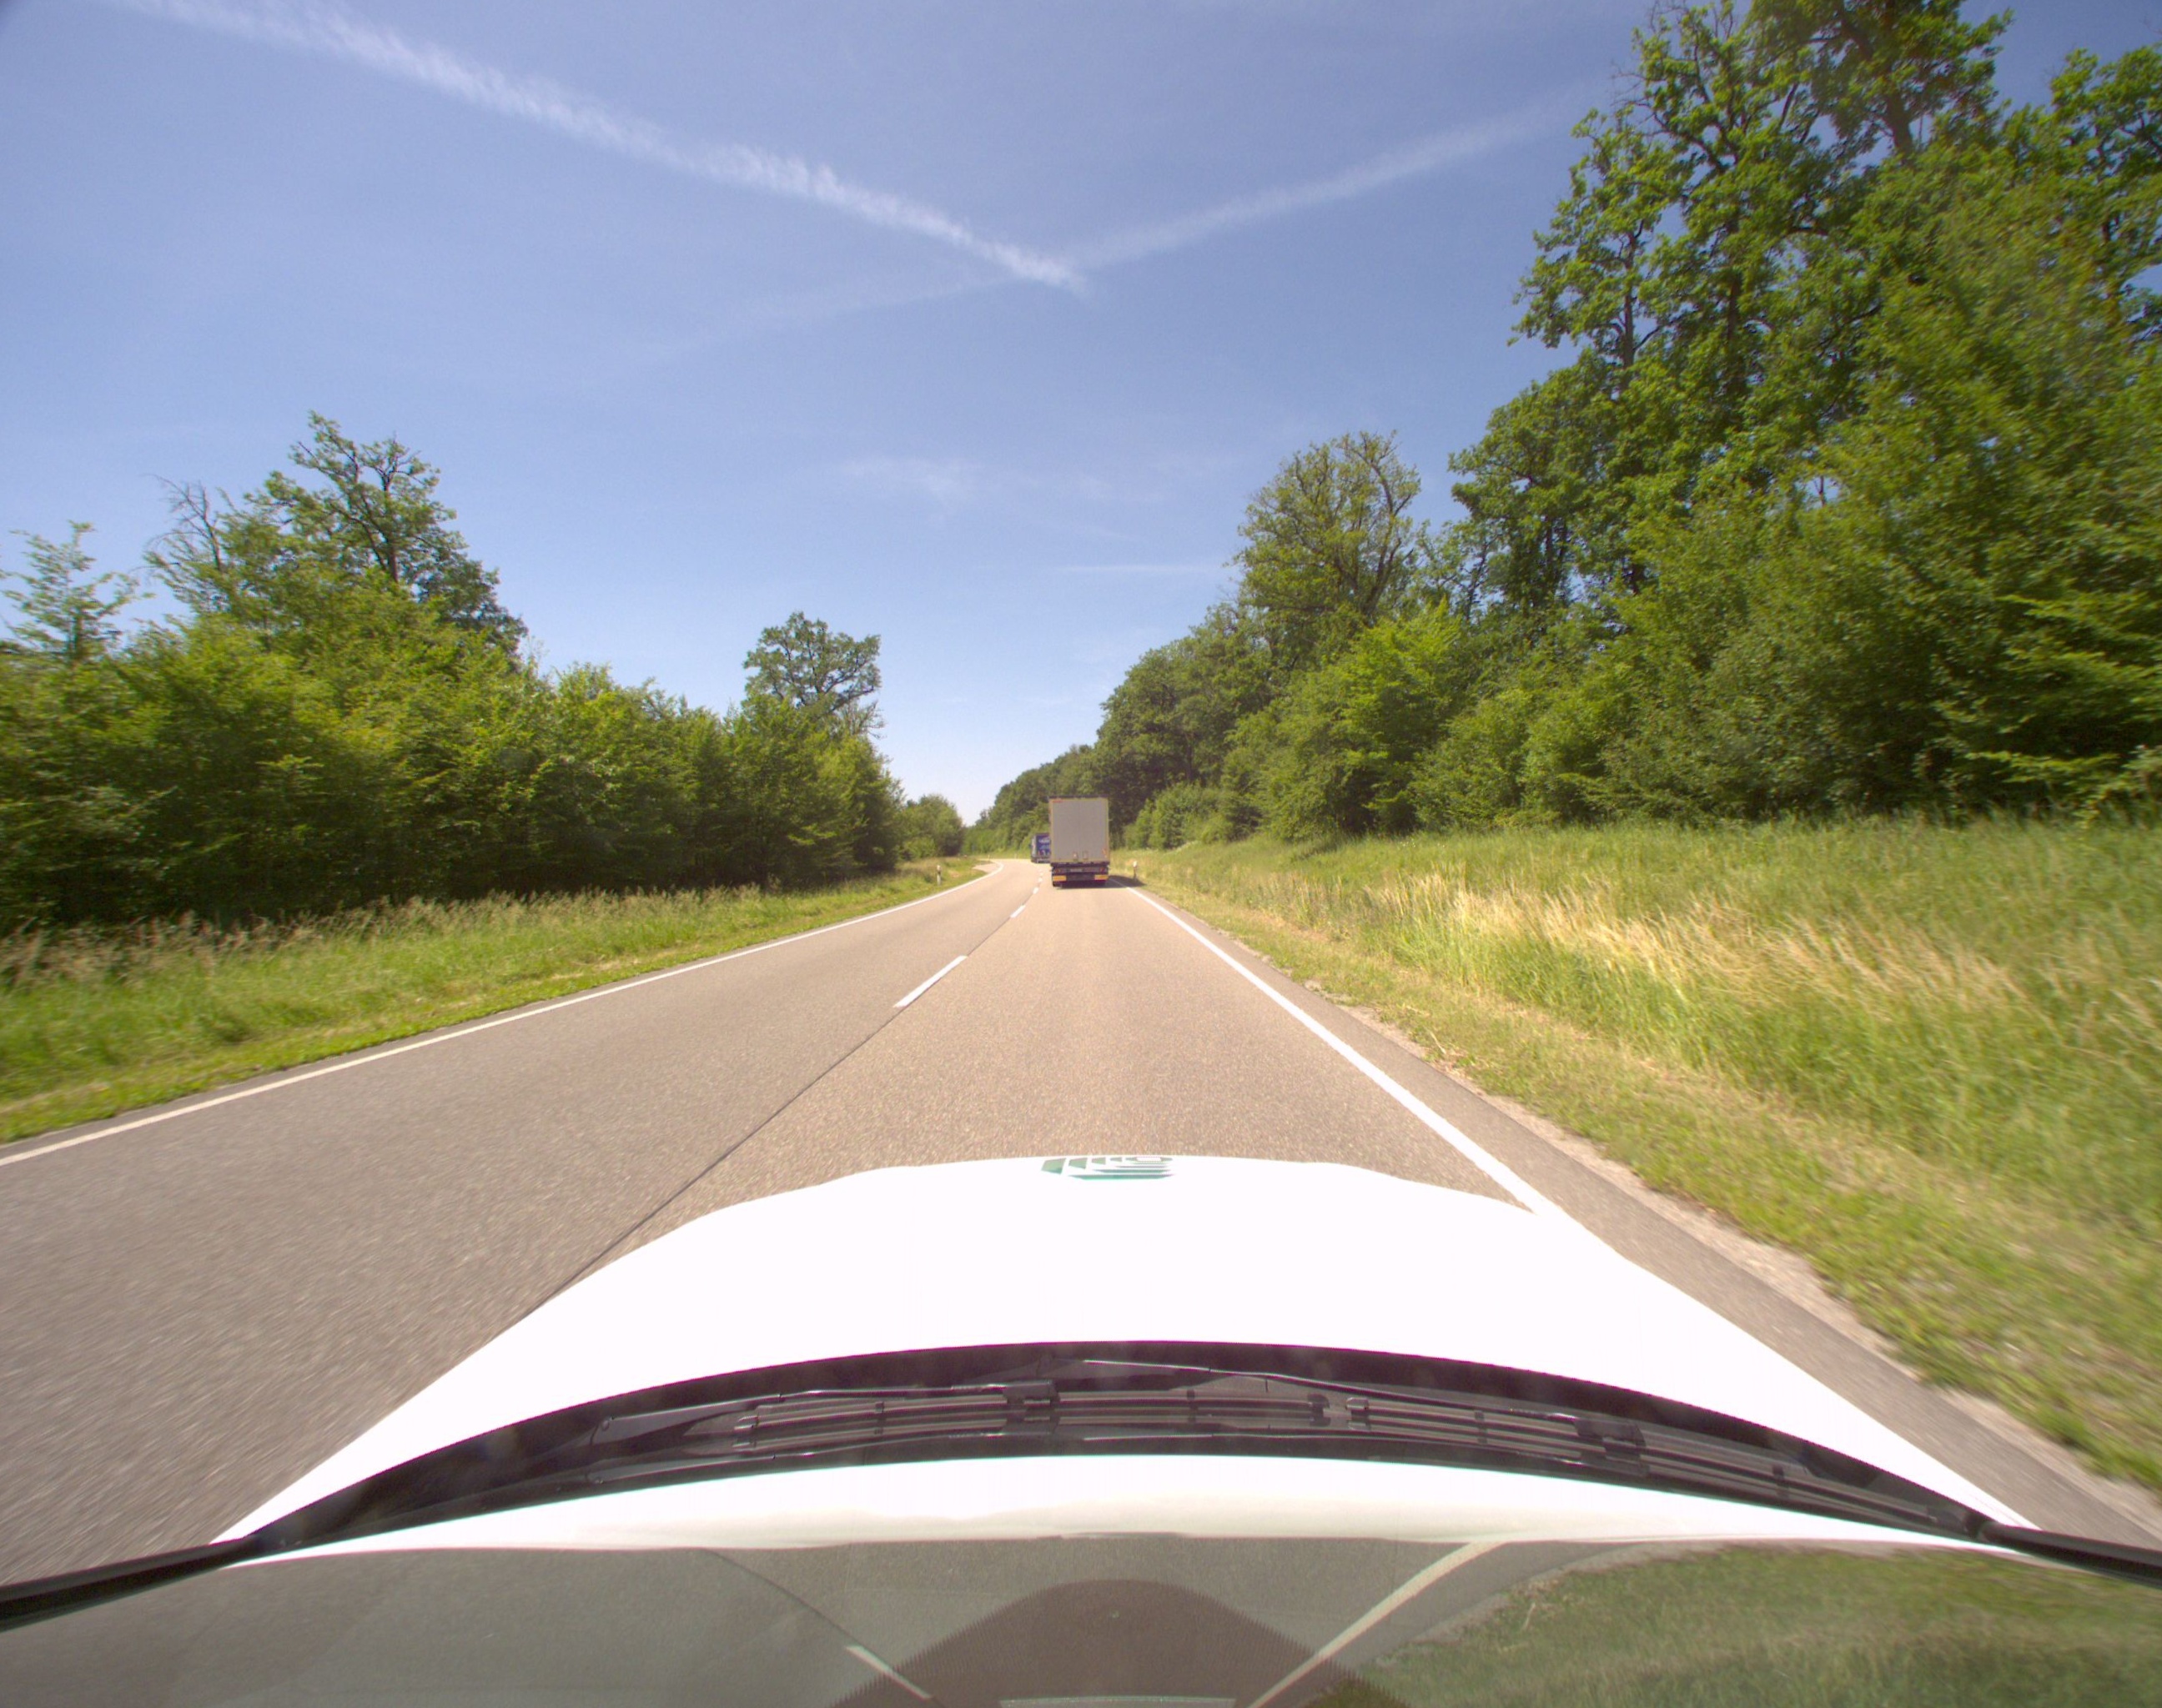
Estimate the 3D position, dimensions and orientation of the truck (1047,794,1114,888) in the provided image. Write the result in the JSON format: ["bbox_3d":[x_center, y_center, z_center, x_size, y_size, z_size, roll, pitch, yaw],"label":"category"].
[{"bbox_3d":[-0.091,-0.563,40.398,2.753,3.947,12.193,-1,0,-1],"label":"truck"}]

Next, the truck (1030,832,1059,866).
[{"bbox_3d":[-5.195,-0.698,113.123,3.786,4.373,14.900,0,0,-4],"label":"truck"}]
